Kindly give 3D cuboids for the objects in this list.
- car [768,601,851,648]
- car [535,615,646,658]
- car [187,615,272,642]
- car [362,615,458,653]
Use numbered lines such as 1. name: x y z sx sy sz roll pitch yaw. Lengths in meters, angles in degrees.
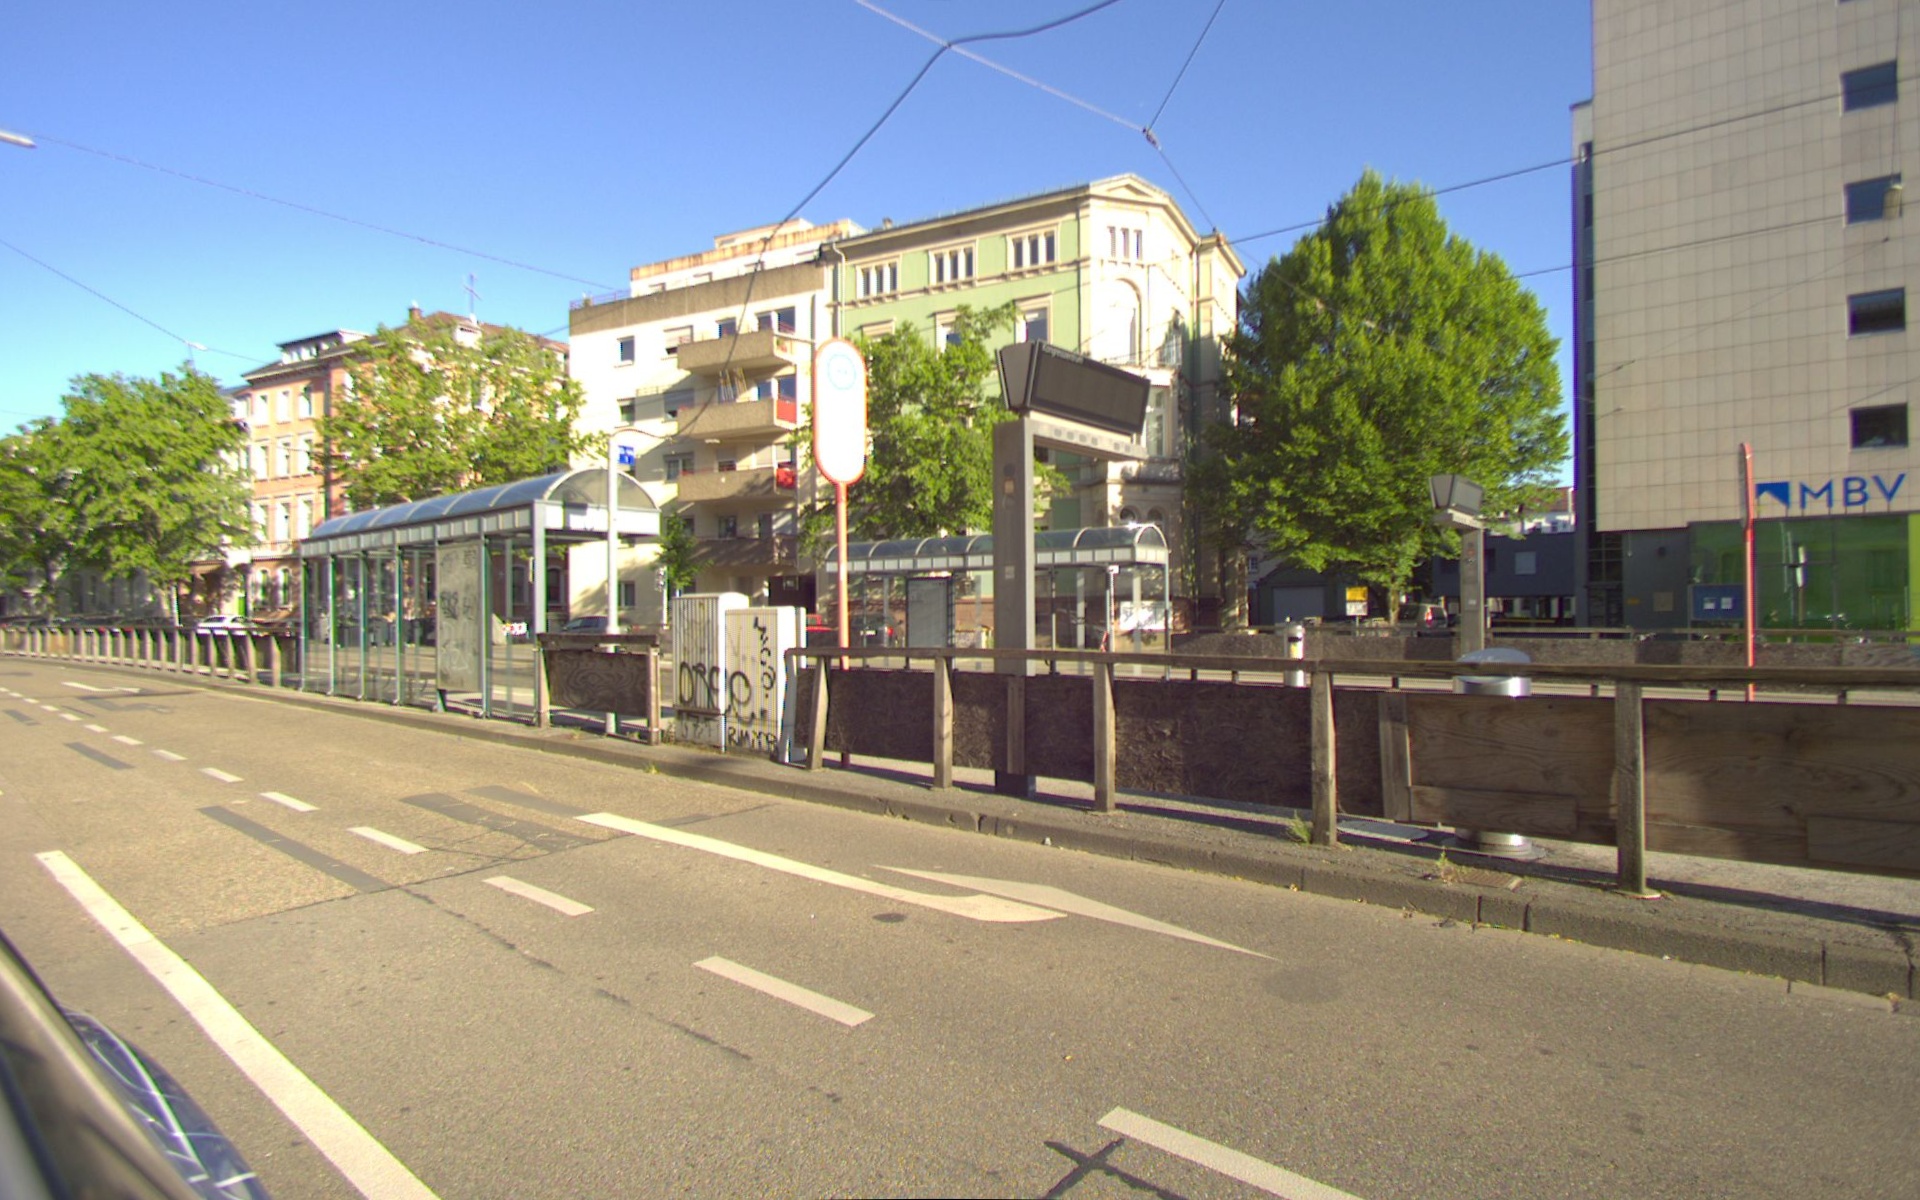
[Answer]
1. car: -6.759 1.090 45.908 1.791 2.029 3.963 -1 -1 27
2. car: -14.132 1.377 38.690 3.987 1.541 1.978 -1 -2 32
3. car: -39.118 1.510 54.274 1.565 1.360 3.631 0 -1 11
4. car: -23.732 1.454 43.635 3.987 1.541 1.978 -1 -2 32
